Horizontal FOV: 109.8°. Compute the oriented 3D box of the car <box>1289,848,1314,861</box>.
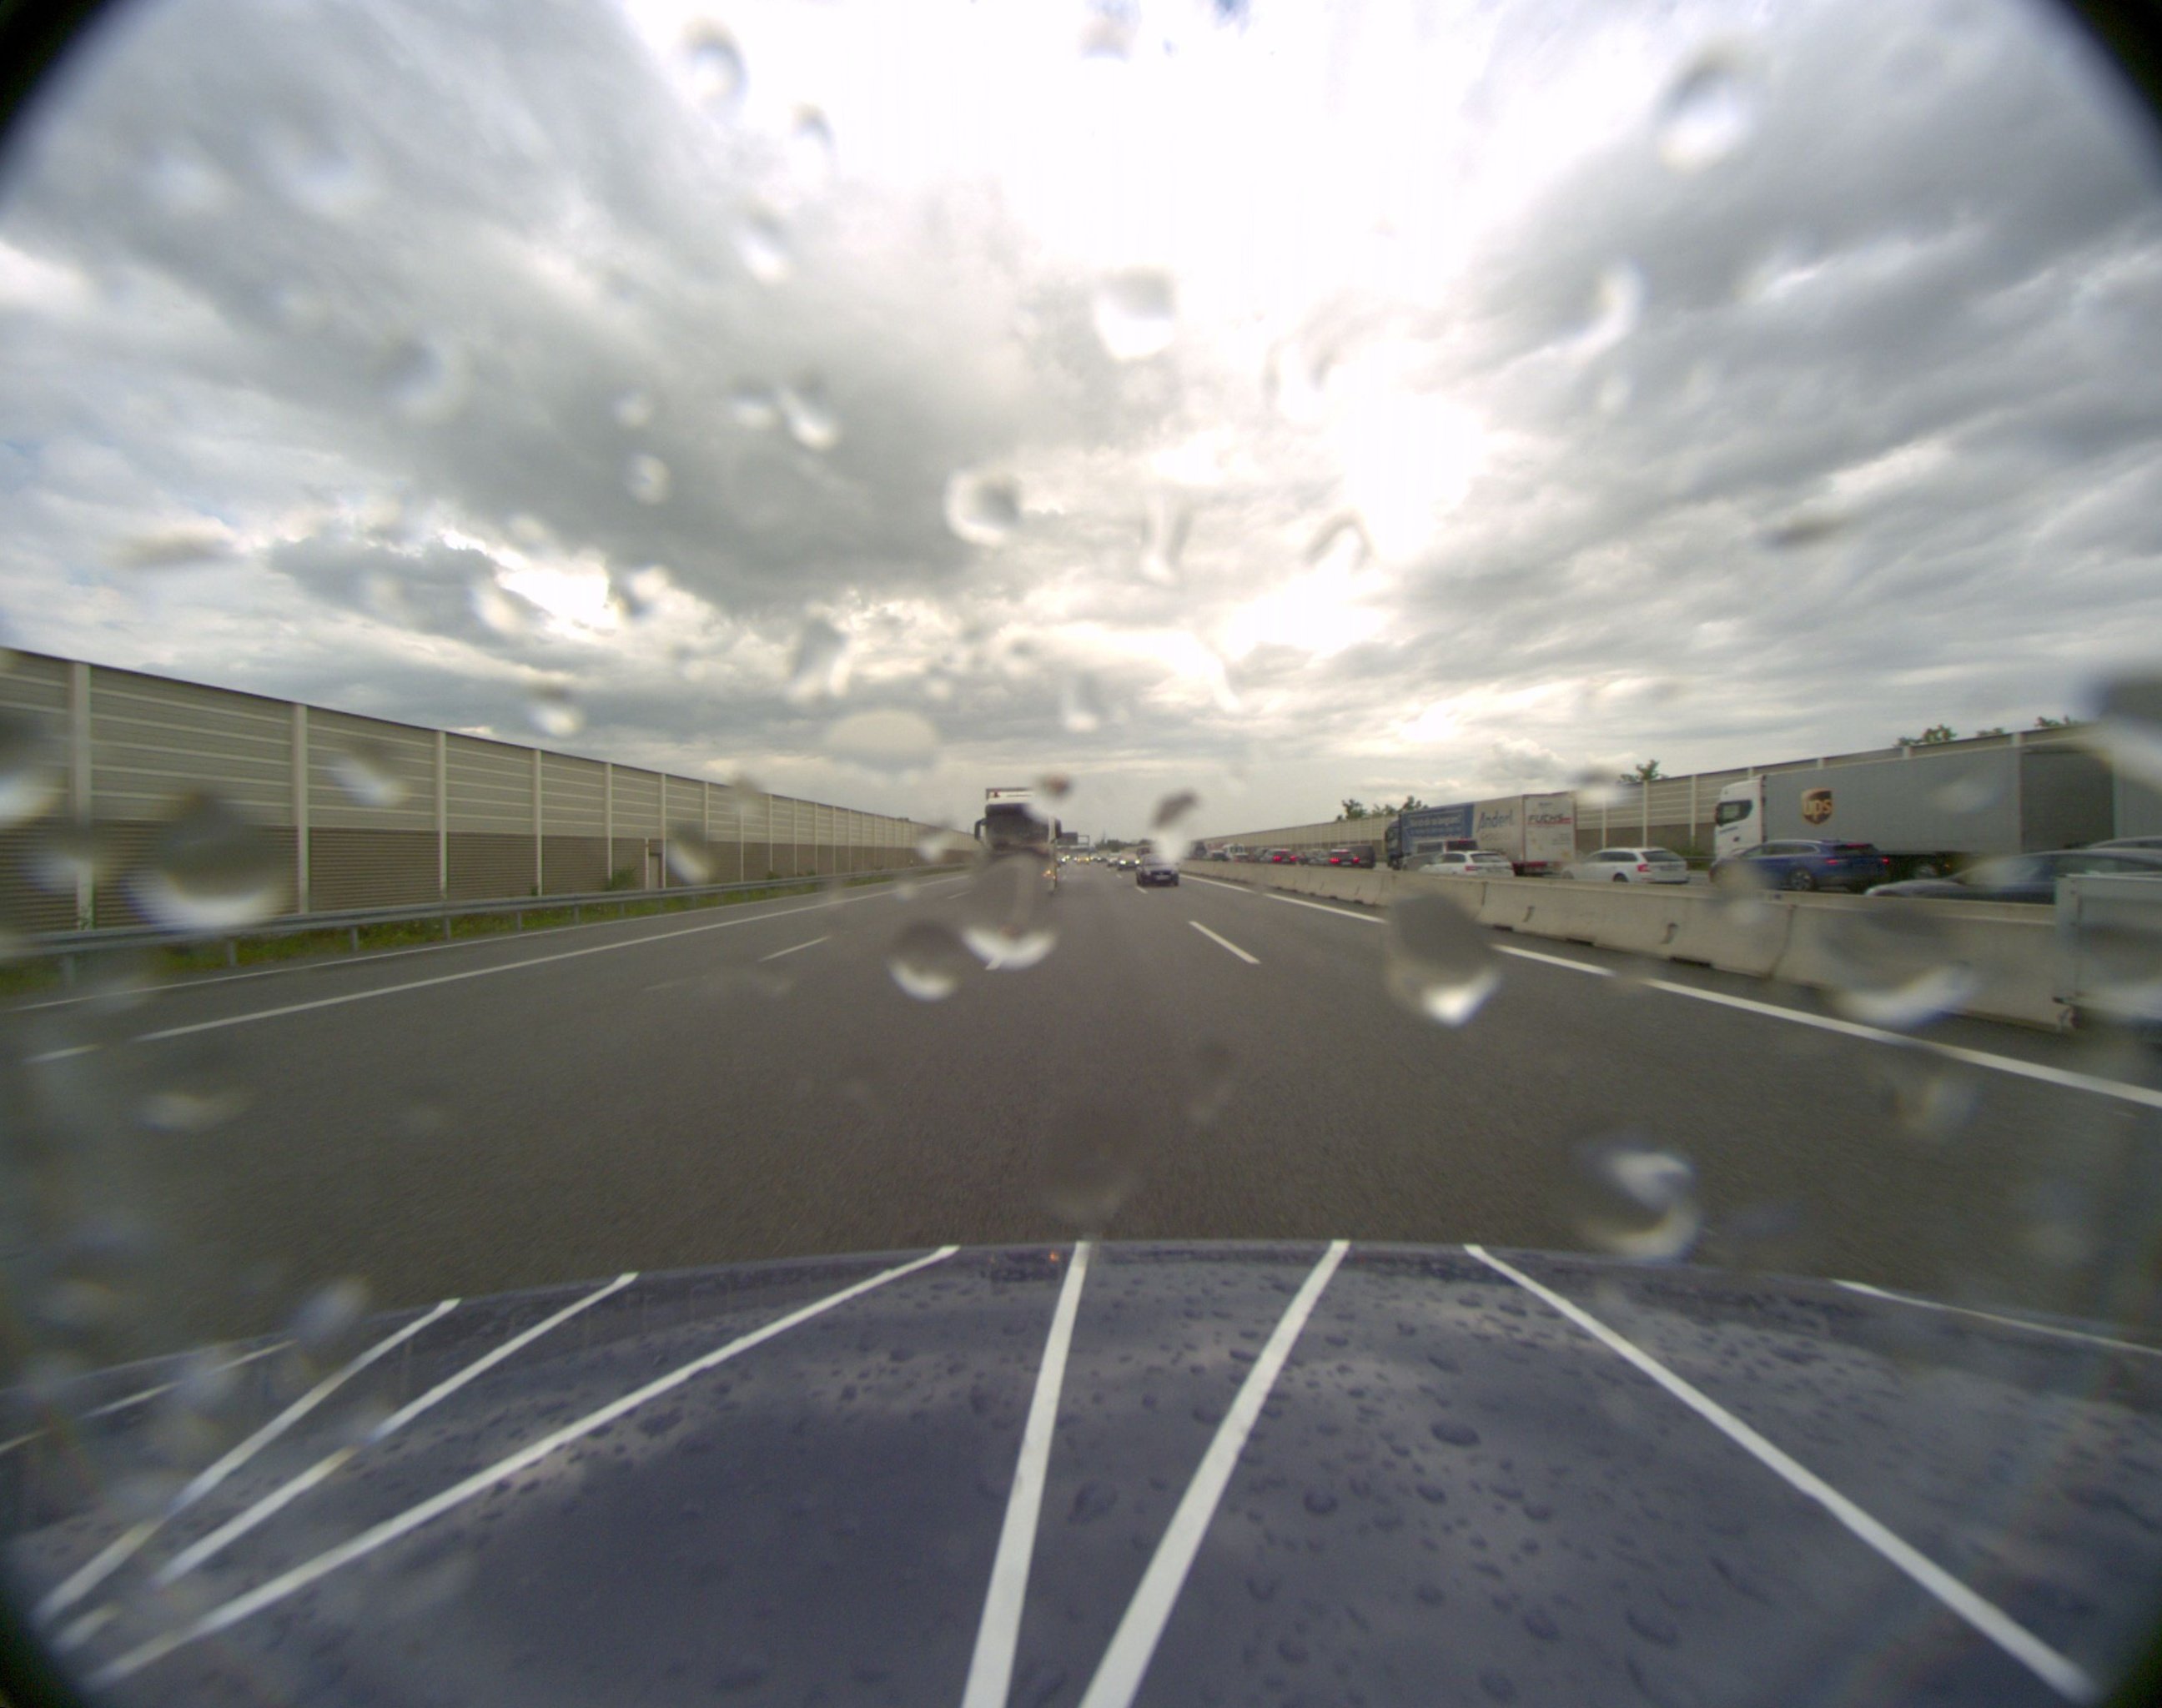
[{"bbox_3d":[26.423,0.015,91.147,1.574,1.496,4.362,-1,0,-2],"label":"car"}]

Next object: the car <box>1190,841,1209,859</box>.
[{"bbox_3d":[18.538,-0.608,119.100,2.133,2.733,4.931,-1,0,-2],"label":"car"}]

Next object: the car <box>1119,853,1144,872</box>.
[{"bbox_3d":[4.195,0.680,63.669,1.776,1.451,4.479,-1,1,0],"label":"car"}]

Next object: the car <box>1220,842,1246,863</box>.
[{"bbox_3d":[18.691,-0.239,93.614,2.031,2.459,5.148,-1,0,-2],"label":"car"}]

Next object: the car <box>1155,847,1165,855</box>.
[{"bbox_3d":[20.800,-0.752,200.328,2.120,1.924,4.932,-1,0,-1],"label":"car"}]

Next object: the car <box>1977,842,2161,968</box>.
[{"bbox_3d":[18.342,0.817,11.802,2.066,1.991,5.807,-1,0,1],"label":"car"}]

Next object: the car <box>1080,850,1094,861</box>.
[{"bbox_3d":[0.821,0.217,103.252,1.732,1.395,4.000,-1,1,2],"label":"car"}]

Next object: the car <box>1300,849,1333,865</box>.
[{"bbox_3d":[22.392,0.248,72.427,1.574,1.496,4.362,-1,0,-2],"label":"car"}]

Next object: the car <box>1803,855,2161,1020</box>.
[{"bbox_3d":[14.578,1.054,11.401,2.066,1.991,5.807,-1,0,1],"label":"car"}]

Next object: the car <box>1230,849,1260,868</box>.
[{"bbox_3d":[15.214,0.390,70.607,1.817,1.622,4.208,-1,0,-1],"label":"car"}]

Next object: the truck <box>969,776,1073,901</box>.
[{"bbox_3d":[-2.074,-0.555,28.484,2.912,4.146,5.194,-2,1,4],"label":"truck"}]

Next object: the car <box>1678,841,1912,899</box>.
[{"bbox_3d":[22.312,0.433,24.205,2.066,1.591,5.807,-1,0,1],"label":"car"}]

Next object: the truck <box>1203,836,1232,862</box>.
[{"bbox_3d":[26.153,-0.962,145.818,3.225,4.829,11.696,-1,0,-1],"label":"truck"}]

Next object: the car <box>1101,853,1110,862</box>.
[{"bbox_3d":[3.961,0.532,123.960,1.498,1.395,4.000,-1,1,2],"label":"car"}]

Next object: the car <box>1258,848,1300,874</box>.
[{"bbox_3d":[15.293,0.488,59.005,1.924,1.880,5.426,-1,0,1],"label":"car"}]

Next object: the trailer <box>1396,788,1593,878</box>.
[{"bbox_3d":[22.186,-0.997,42.449,3.066,4.136,14.314,-1,0,0],"label":"trailer"}]

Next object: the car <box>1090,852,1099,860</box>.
[{"bbox_3d":[2.700,0.324,147.873,1.498,1.395,3.999,-1,1,-2],"label":"car"}]

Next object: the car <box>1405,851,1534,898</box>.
[{"bbox_3d":[14.659,0.704,29.155,2.066,1.555,5.807,-1,0,1],"label":"car"}]

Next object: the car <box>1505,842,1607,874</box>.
[{"bbox_3d":[26.116,0.183,42.097,2.066,1.591,5.807,-1,0,1],"label":"car"}]

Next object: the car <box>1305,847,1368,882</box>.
[{"bbox_3d":[14.941,0.552,44.767,1.938,1.886,5.432,-1,0,1],"label":"car"}]

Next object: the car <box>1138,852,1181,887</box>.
[{"bbox_3d":[3.475,0.661,34.202,1.578,1.395,4.000,-1,1,1],"label":"car"}]

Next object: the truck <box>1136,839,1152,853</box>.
[{"bbox_3d":[22.498,-2.815,271.417,3.714,5.029,17.225,-1,0,-2],"label":"truck"}]

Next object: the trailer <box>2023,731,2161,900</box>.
[{"bbox_3d":[26.044,-0.890,15.300,2.728,3.849,9.283,-1,0,1],"label":"trailer"}]

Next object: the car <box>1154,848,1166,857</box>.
[{"bbox_3d":[17.855,-0.330,171.856,2.120,1.924,4.932,-1,0,-1],"label":"car"}]

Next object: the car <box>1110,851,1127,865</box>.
[{"bbox_3d":[4.027,0.418,81.753,1.732,1.395,4.000,-1,1,2],"label":"car"}]

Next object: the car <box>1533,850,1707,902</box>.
[{"bbox_3d":[18.605,0.681,26.691,2.066,1.591,5.807,-1,0,1],"label":"car"}]

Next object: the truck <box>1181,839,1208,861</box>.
[{"bbox_3d":[25.885,-0.931,174.497,3.448,4.829,17.226,-1,0,-1],"label":"truck"}]

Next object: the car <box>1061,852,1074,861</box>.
[{"bbox_3d":[-1.966,0.313,108.227,1.776,1.248,4.479,-1,1,0],"label":"car"}]

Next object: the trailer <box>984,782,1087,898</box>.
[{"bbox_3d":[-1.647,-0.596,34.707,2.925,4.188,13.198,-2,1,4],"label":"trailer"}]

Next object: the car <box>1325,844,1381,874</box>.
[{"bbox_3d":[18.433,0.318,51.852,1.938,1.886,5.432,-1,0,1],"label":"car"}]

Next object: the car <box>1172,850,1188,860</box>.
[{"bbox_3d":[14.971,0.193,115.292,1.641,1.496,4.362,-1,0,-2],"label":"car"}]

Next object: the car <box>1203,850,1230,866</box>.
[{"bbox_3d":[14.730,0.396,82.965,1.925,1.622,4.695,-1,0,-2],"label":"car"}]

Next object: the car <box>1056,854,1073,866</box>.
[{"bbox_3d":[-1.816,0.616,85.252,1.776,1.248,4.479,-1,1,0],"label":"car"}]

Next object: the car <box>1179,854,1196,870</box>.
[{"bbox_3d":[18.571,1.396,132.380,2.133,2.733,4.931,-1,0,-2],"label":"car"}]

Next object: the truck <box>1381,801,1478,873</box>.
[{"bbox_3d":[22.138,-1.038,48.744,3.079,4.220,6.692,-1,0,-1],"label":"truck"}]

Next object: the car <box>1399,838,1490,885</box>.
[{"bbox_3d":[18.267,0.338,38.545,2.066,2.146,5.432,-1,0,1],"label":"car"}]

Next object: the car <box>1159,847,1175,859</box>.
[{"bbox_3d":[14.481,-0.119,128.444,1.947,1.924,4.932,-1,0,-1],"label":"car"}]

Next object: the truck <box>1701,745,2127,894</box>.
[{"bbox_3d":[26.174,-0.927,25.207,2.693,3.876,10.499,-1,0,1],"label":"truck"}]

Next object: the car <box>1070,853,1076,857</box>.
[{"bbox_3d":[-2.459,0.257,238.854,1.645,1.328,4.182,-1,1,0],"label":"car"}]
